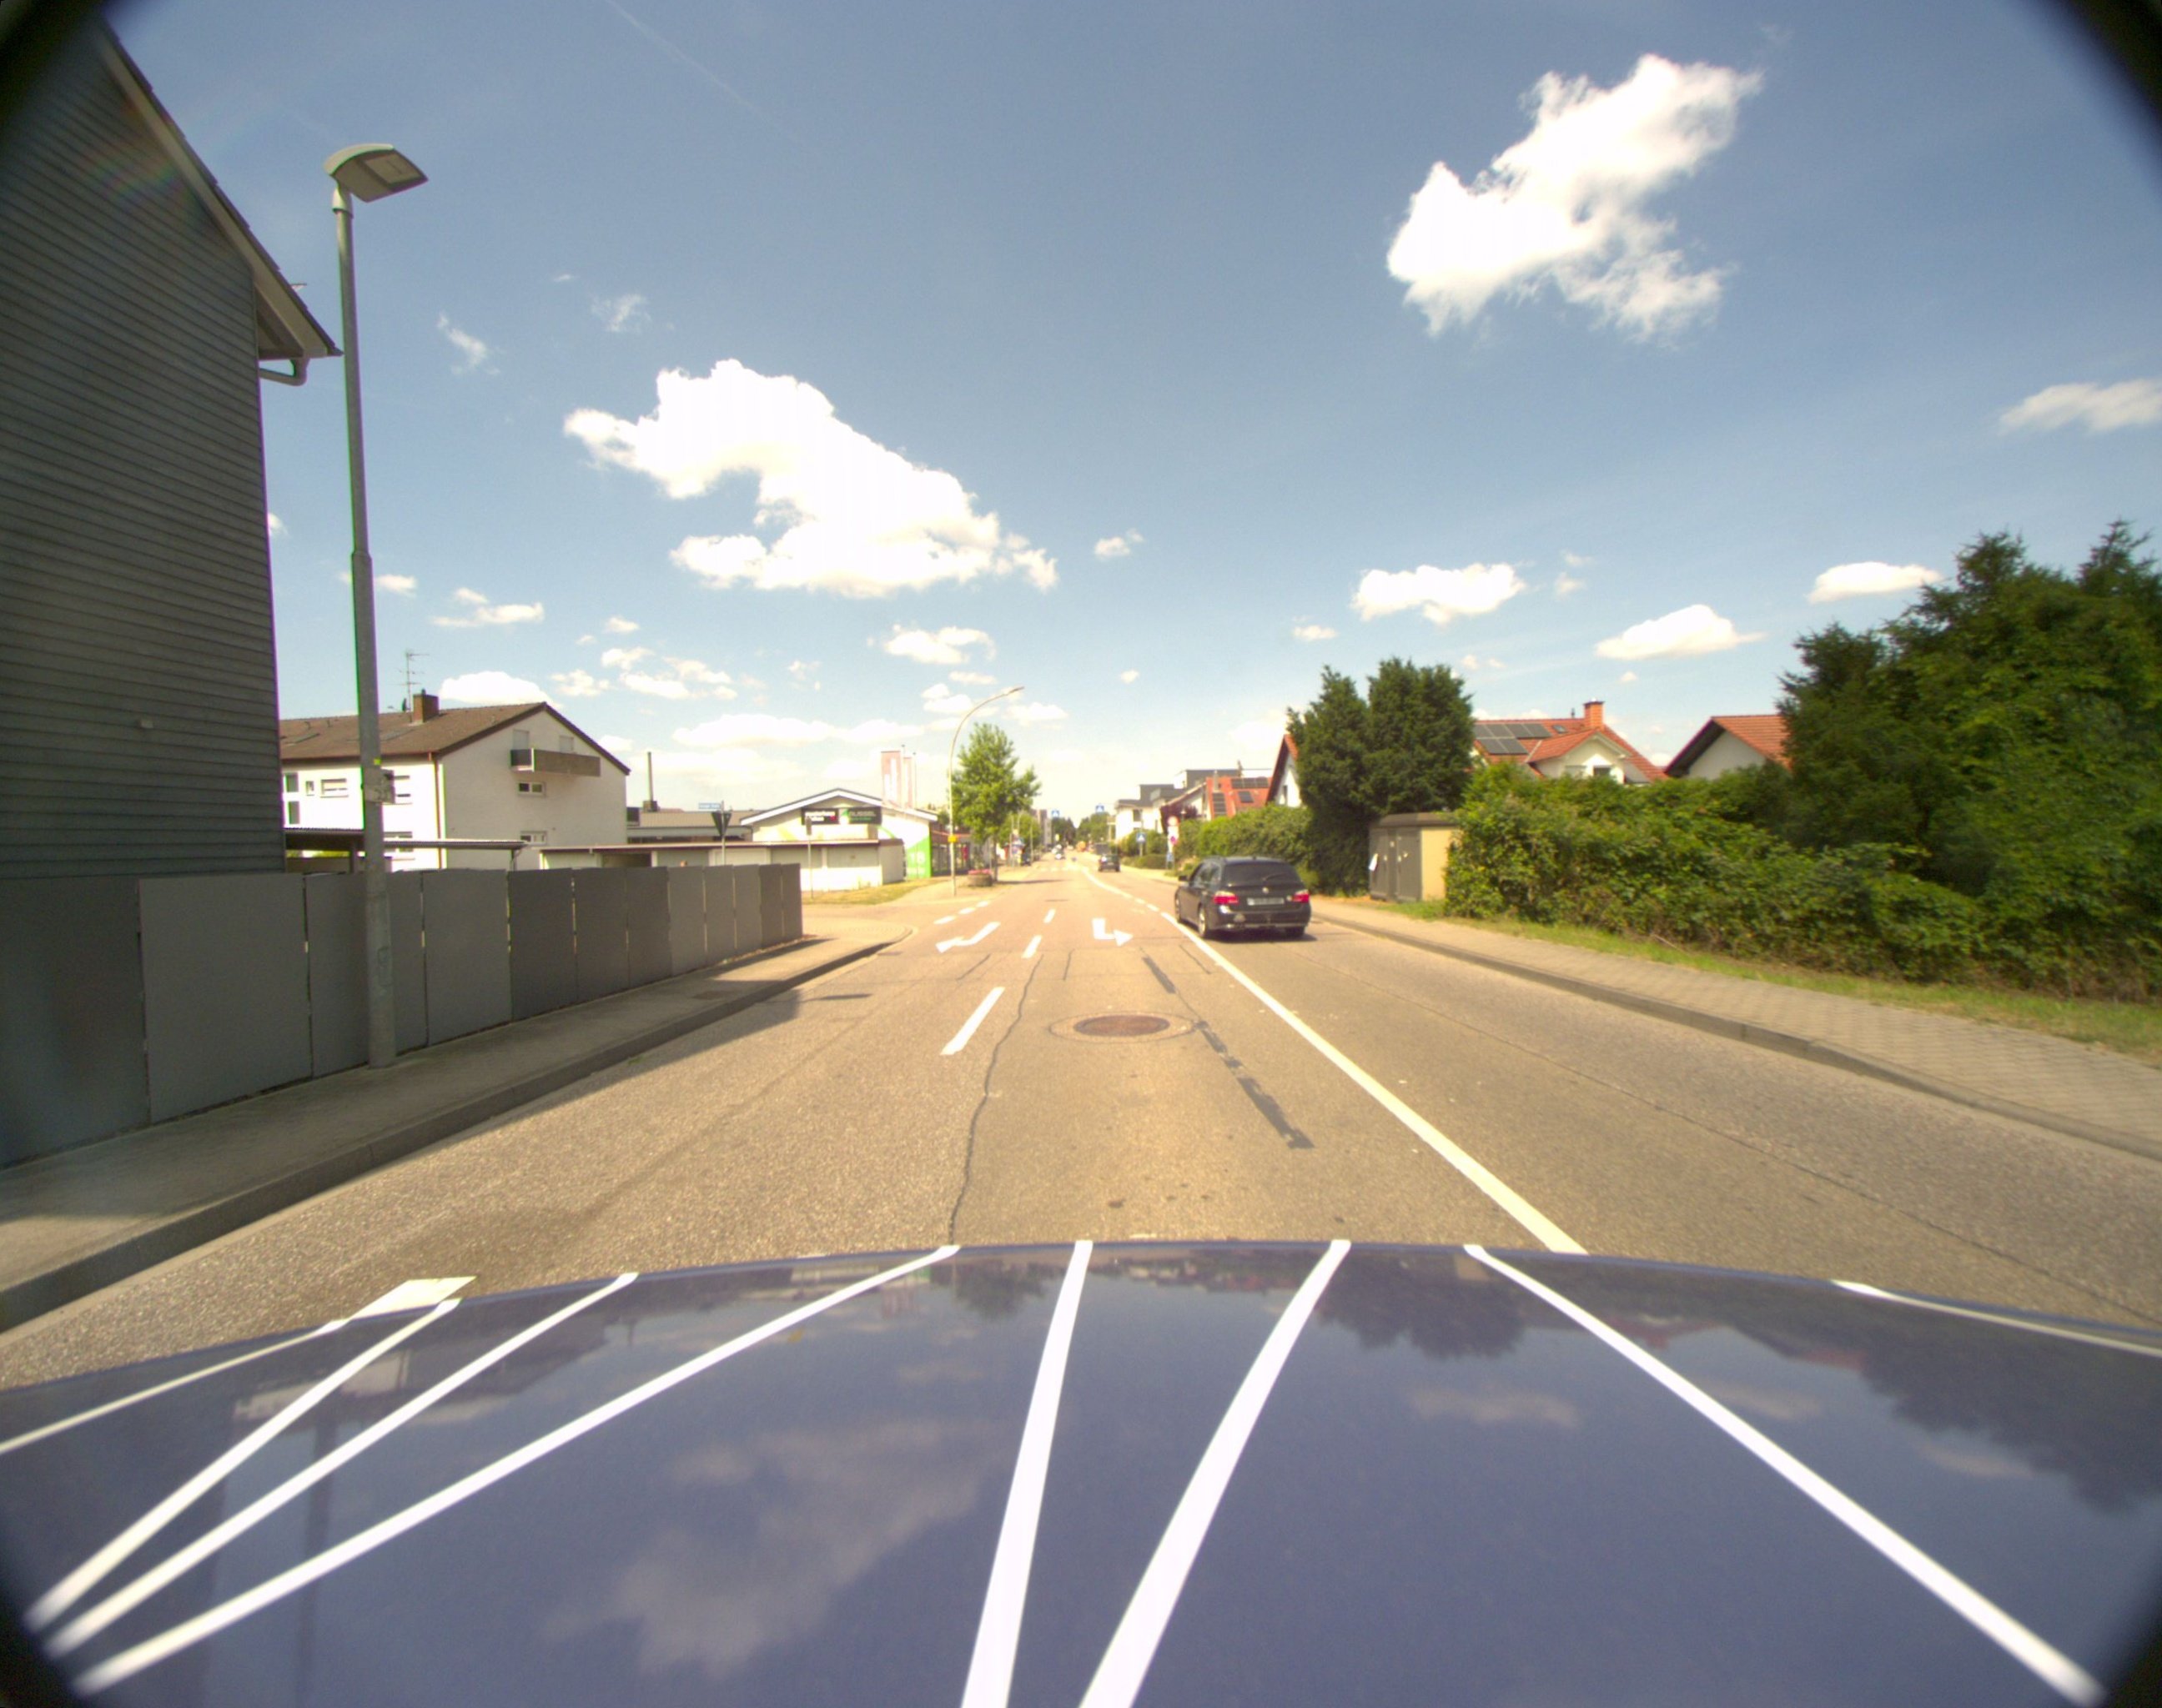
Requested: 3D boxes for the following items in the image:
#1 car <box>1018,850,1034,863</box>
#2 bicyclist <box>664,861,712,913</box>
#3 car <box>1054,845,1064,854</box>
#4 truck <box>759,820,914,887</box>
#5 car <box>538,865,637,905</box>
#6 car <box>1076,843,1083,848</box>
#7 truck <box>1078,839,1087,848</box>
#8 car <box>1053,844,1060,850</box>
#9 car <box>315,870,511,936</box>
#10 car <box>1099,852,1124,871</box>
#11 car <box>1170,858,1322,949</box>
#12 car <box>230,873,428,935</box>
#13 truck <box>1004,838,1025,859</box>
[{"bbox_3d":[-6.542,0.236,89.883,1.729,1.484,3.758,0,1,-2],"label":"car"},{"bbox_3d":[-12.961,1.072,25.088,1.111,1.620,0.805,-2,1,-1],"label":"bicyclist"},{"bbox_3d":[-3.800,-0.816,132.913,1.729,1.484,3.759,0,1,-1],"label":"car"},{"bbox_3d":[-14.404,-0.073,45.223,8.192,3.553,2.676,-2,2,-2],"label":"truck"},{"bbox_3d":[-22.144,1.349,34.301,1.679,1.494,4.131,-2,1,0],"label":"car"},{"bbox_3d":[-0.465,-2.521,223.767,1.799,1.480,3.612,0,1,-1],"label":"car"},{"bbox_3d":[0.532,-3.234,236.570,2.864,2.695,6.790,0,1,1],"label":"truck"},{"bbox_3d":[-6.285,-1.837,194.638,1.729,1.484,3.759,0,1,-1],"label":"car"},{"bbox_3d":[-18.572,1.293,21.431,1.741,1.638,4.217,-1,-1,2],"label":"car"},{"bbox_3d":[2.402,0.550,60.439,1.785,1.425,3.871,0,0,-1],"label":"car"},{"bbox_3d":[2.972,0.825,14.784,1.868,1.434,4.670,0,1,-1],"label":"car"},{"bbox_3d":[-21.053,1.341,21.521,1.741,1.577,3.854,-1,-1,2],"label":"car"},{"bbox_3d":[-9.199,-0.789,104.803,2.580,2.746,6.329,0,1,-7],"label":"truck"}]
